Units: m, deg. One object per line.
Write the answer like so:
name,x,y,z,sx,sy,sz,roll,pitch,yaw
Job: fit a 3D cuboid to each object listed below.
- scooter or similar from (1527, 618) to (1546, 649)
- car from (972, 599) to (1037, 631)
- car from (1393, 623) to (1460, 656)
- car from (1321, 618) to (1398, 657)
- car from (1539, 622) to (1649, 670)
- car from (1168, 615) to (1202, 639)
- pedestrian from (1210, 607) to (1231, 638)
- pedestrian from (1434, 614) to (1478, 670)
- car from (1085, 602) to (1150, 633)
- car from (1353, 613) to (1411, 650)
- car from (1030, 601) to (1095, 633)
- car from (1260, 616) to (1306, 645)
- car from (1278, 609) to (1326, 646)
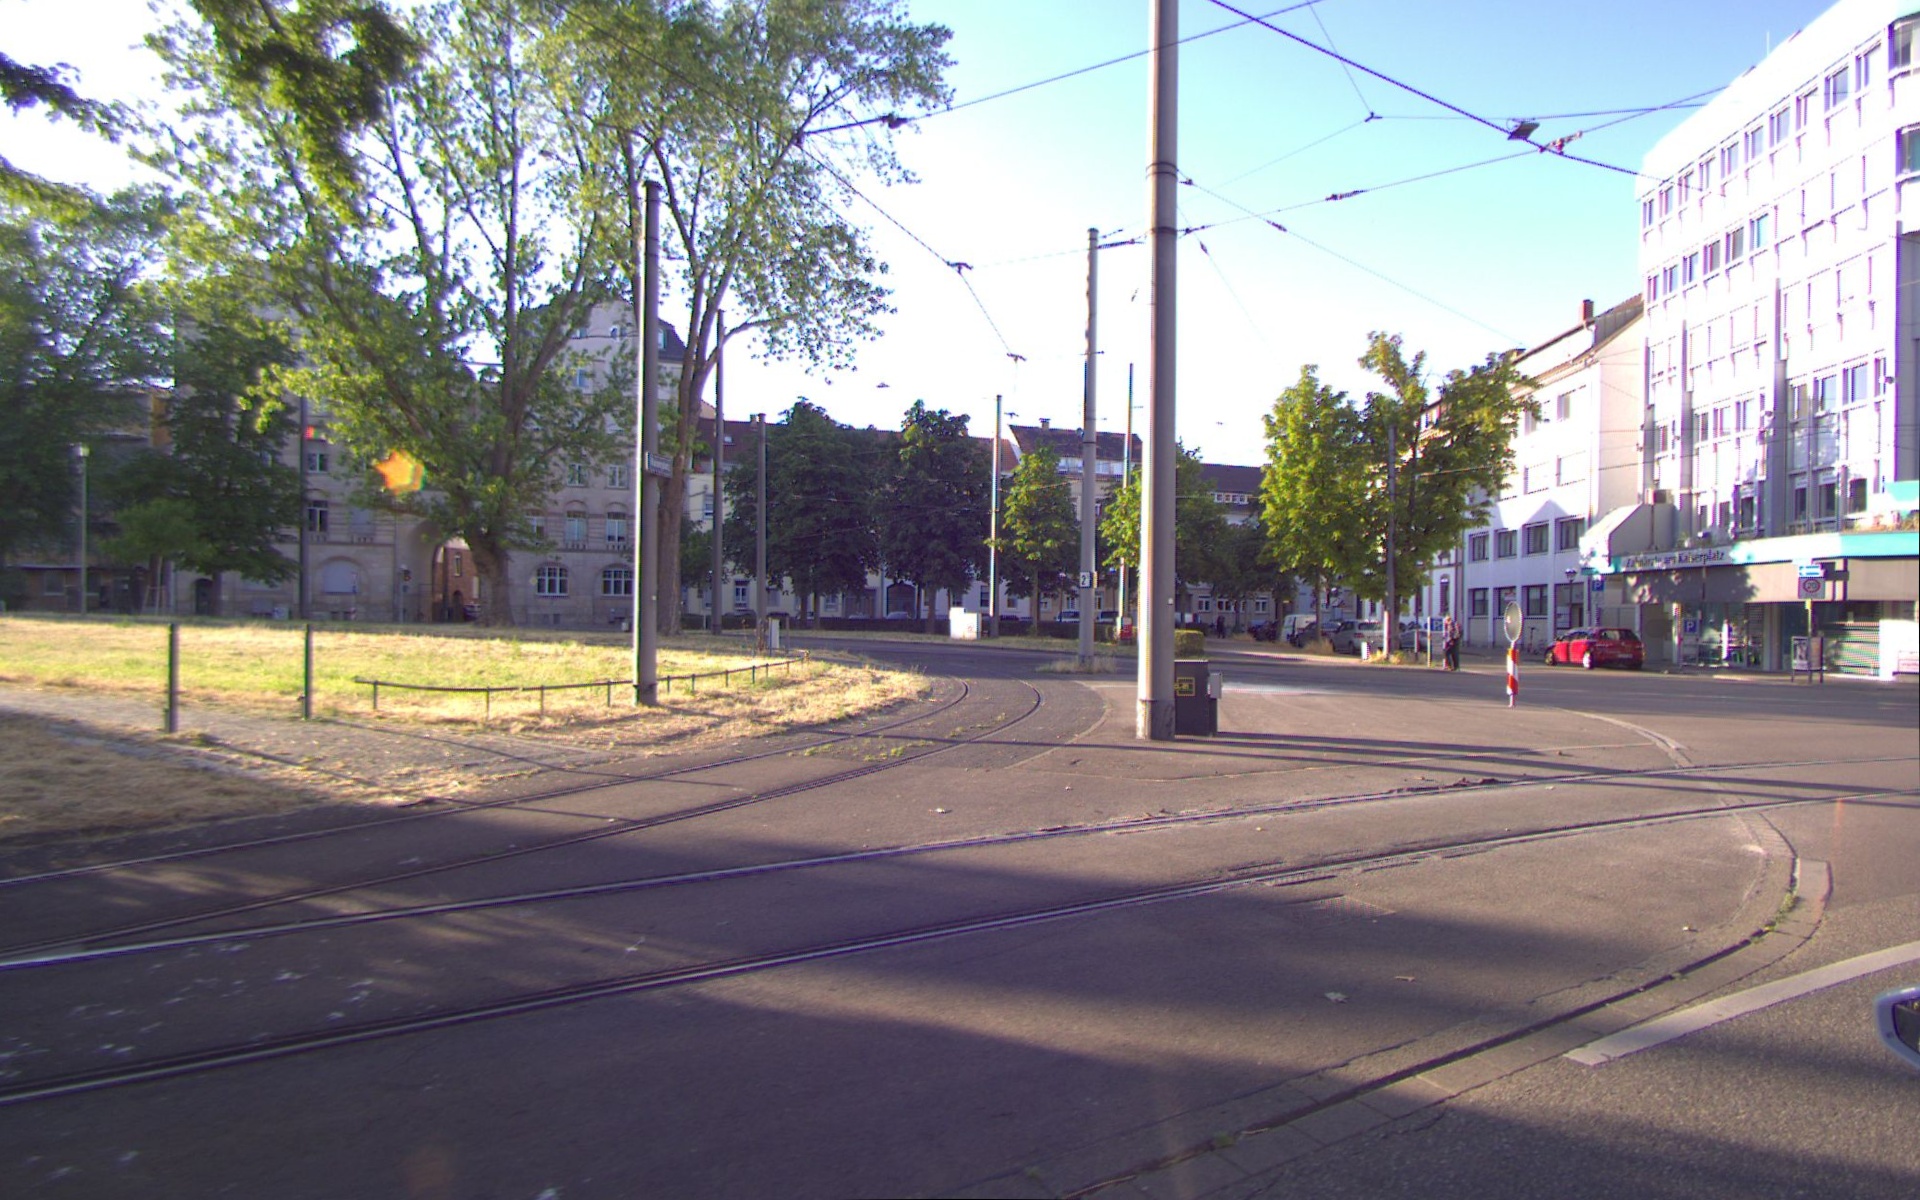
scooter or similar,27.375,1.581,47.689,0.742,1.417,1.924,1,0,29
car,2.932,1.008,66.770,3.933,2.040,1.994,1,0,-15
car,23.708,1.987,51.193,1.959,1.550,4.003,1,-1,8
car,18.707,1.733,47.205,1.961,1.706,4.000,1,-1,0
car,22.579,1.595,35.947,1.986,1.504,4.002,1,0,11
car,19.371,2.303,86.740,1.961,2.040,4.000,1,-1,0
pedestrian,17.221,1.473,66.503,1.097,2.040,1.466,1,0,6
pedestrian,15.594,1.314,31.623,1.140,1.725,0.907,1,-1,22
car,10.826,1.178,69.008,3.933,2.040,1.994,1,0,-15
car,24.227,1.772,57.860,1.959,2.040,4.002,1,-1,6
car,6.910,1.142,67.912,3.933,2.040,1.994,1,0,-15
car,20.341,1.896,63.402,1.959,1.751,4.002,1,0,7
car,19.674,1.558,57.901,1.959,2.040,4.003,1,0,10
